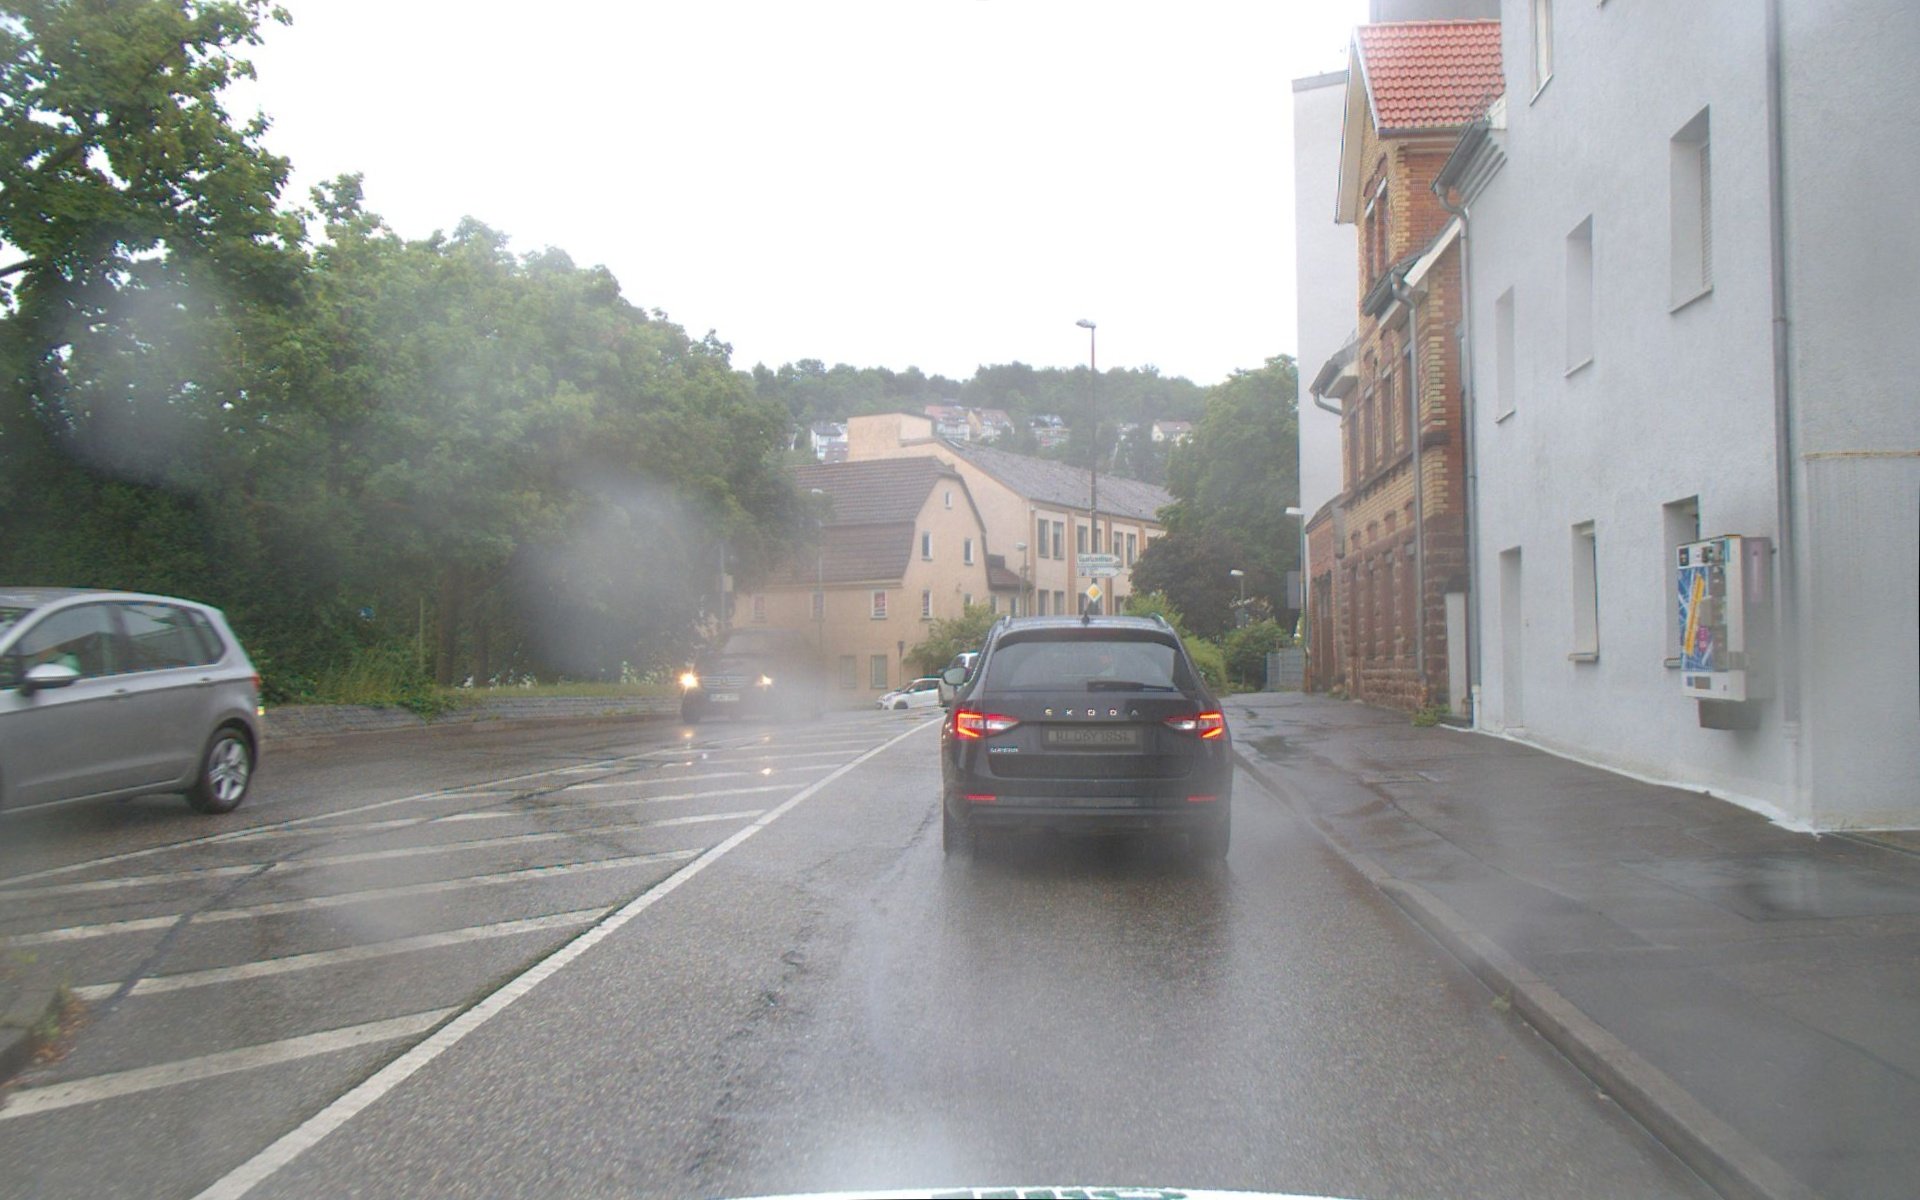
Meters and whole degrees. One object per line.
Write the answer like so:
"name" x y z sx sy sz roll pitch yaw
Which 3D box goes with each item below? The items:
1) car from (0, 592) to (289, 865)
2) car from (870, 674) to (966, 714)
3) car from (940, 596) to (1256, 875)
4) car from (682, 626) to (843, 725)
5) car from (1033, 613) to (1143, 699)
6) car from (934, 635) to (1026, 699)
"car" -6.222 0.765 10.672 1.608 1.579 4.158 0 -1 9
"car" -1.799 4.026 71.006 3.700 1.478 1.700 -2 -3 -23
"car" 0.833 0.755 11.396 1.745 1.509 4.247 1 0 2
"car" -3.270 1.224 28.144 1.605 1.547 4.074 -1 -1 10
"car" 2.214 1.015 29.290 1.780 1.384 3.990 -1 -3 3
"car" 0.511 1.897 45.991 1.697 1.619 4.171 2 -4 -12
